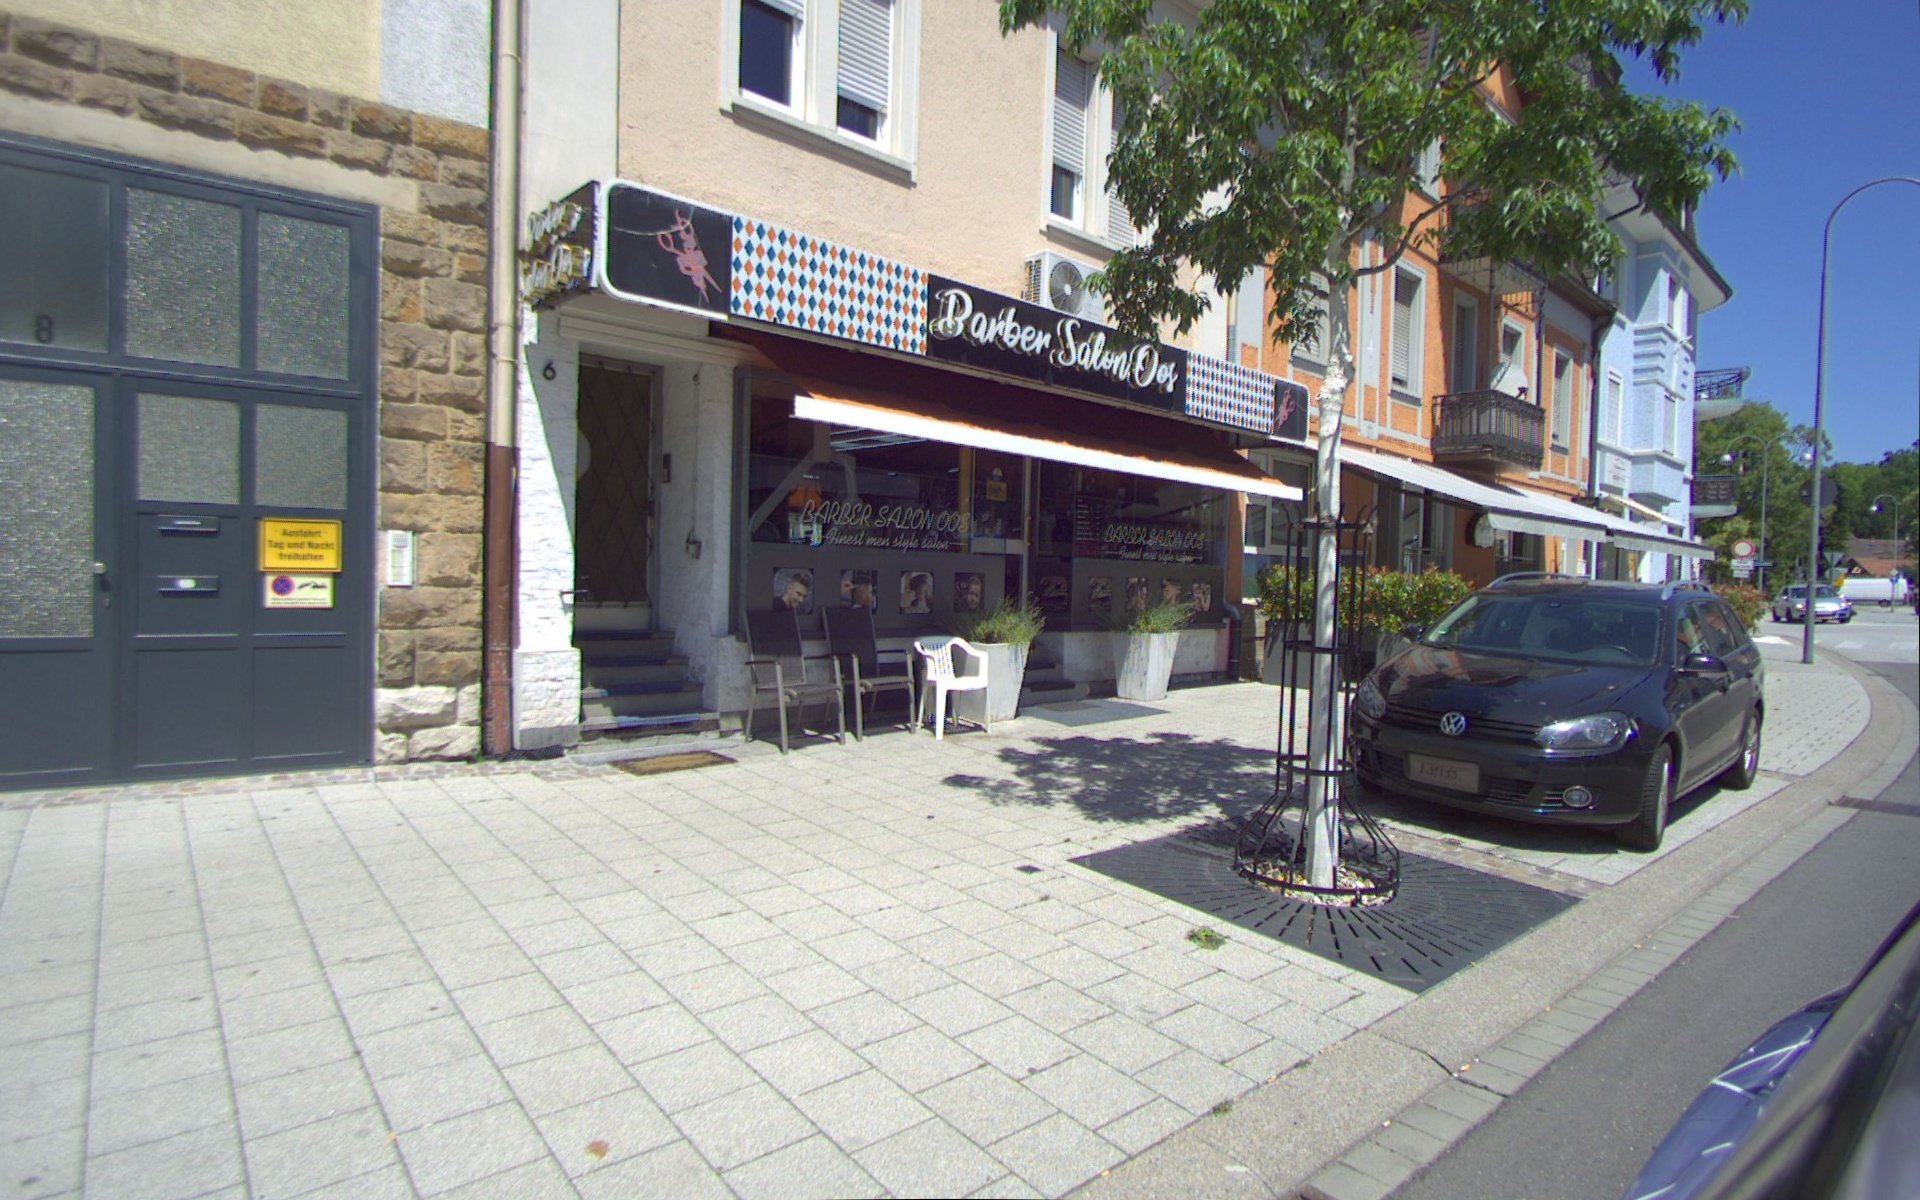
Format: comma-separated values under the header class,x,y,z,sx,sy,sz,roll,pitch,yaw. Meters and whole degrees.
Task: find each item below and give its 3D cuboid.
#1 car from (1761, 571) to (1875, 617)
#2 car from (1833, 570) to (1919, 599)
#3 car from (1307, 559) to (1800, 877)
class,x,y,z,sx,sy,sz,roll,pitch,yaw
car,32.742,-0.270,38.778,1.975,1.616,4.163,1,1,20
car,83.354,-1.420,91.755,6.335,2.492,2.274,1,1,41
car,4.296,0.531,6.999,4.251,1.491,1.733,-1,4,-43
